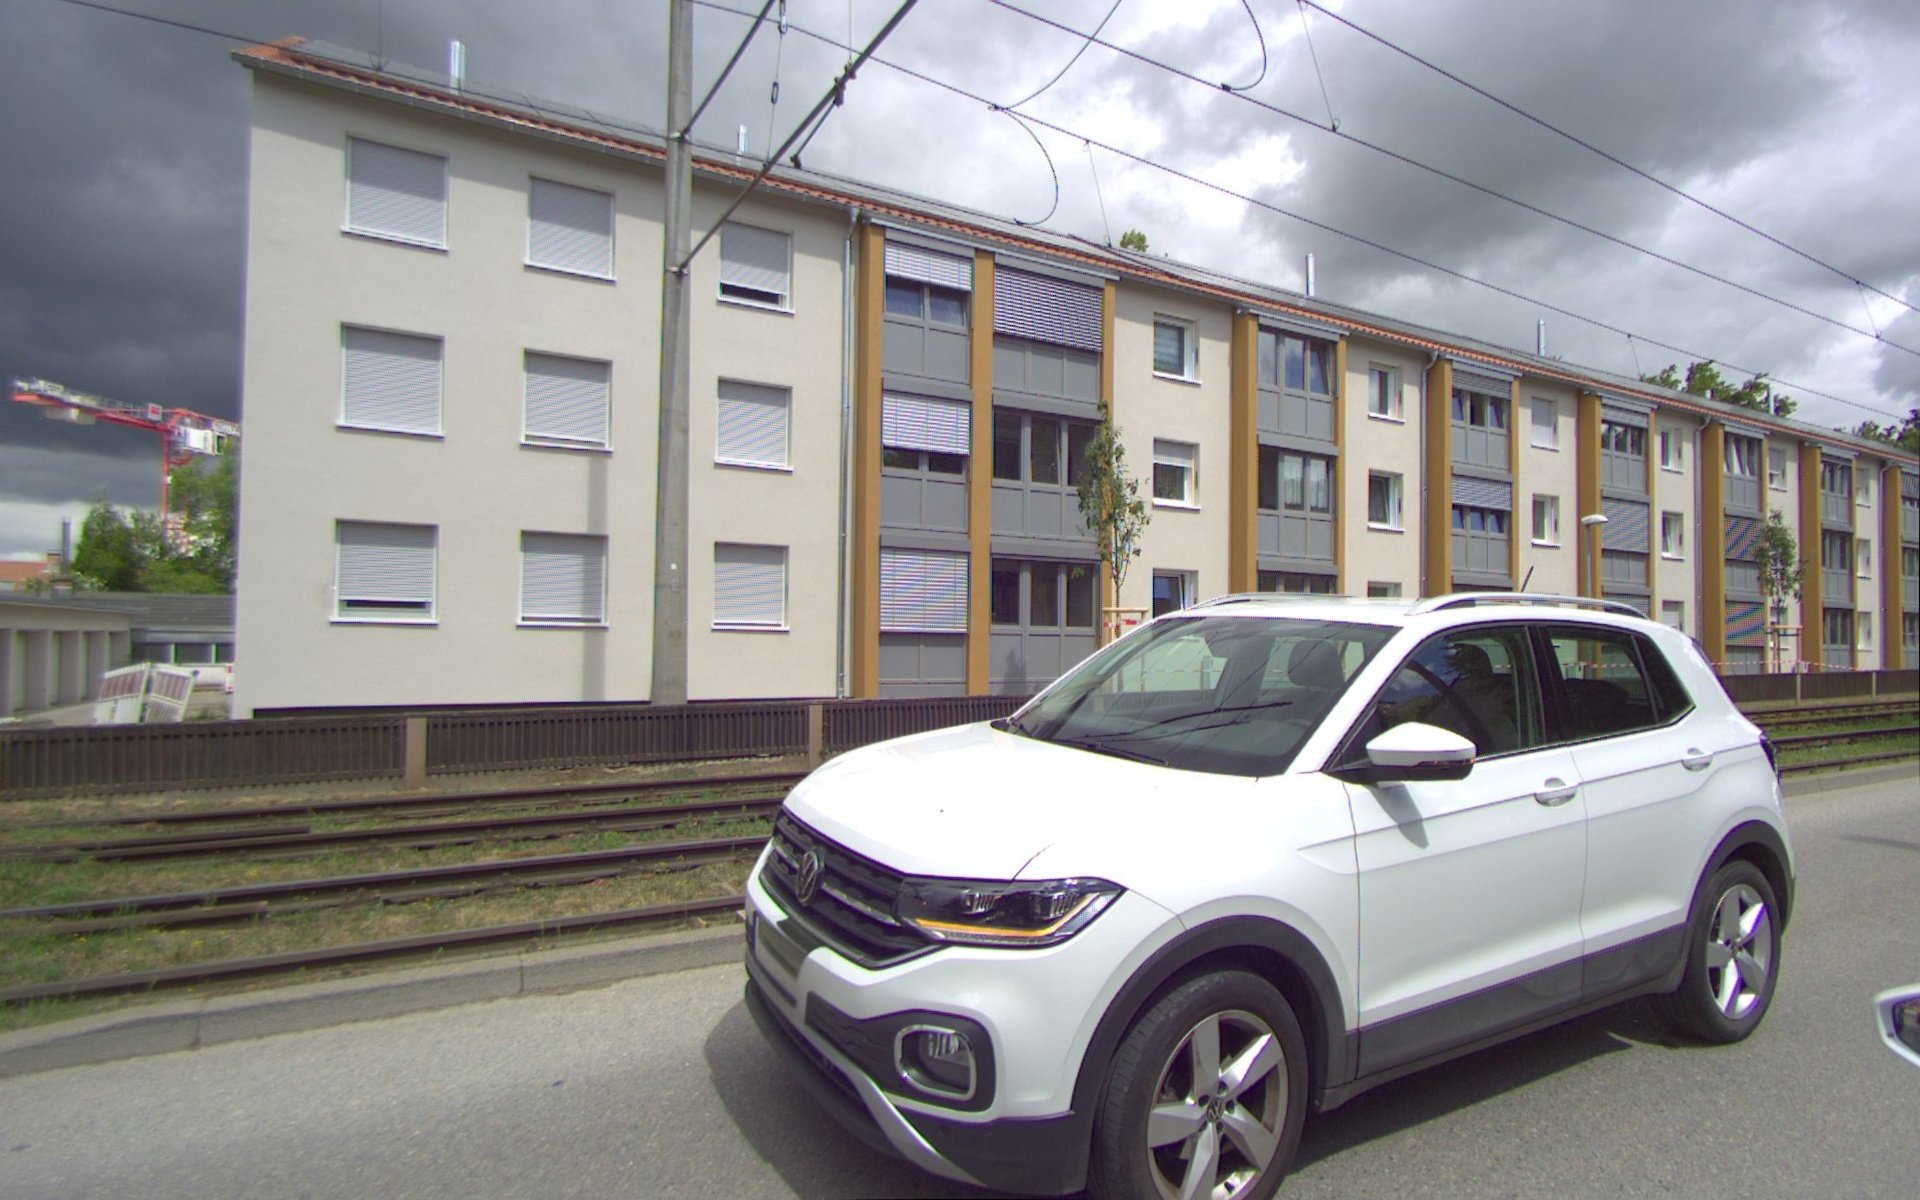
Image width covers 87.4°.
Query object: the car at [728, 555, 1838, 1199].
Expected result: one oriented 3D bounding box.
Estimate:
[{"bbox_3d":[1.311,0.751,3.653,3.871,1.572,1.710,2,-1,-30],"label":"car"}]
